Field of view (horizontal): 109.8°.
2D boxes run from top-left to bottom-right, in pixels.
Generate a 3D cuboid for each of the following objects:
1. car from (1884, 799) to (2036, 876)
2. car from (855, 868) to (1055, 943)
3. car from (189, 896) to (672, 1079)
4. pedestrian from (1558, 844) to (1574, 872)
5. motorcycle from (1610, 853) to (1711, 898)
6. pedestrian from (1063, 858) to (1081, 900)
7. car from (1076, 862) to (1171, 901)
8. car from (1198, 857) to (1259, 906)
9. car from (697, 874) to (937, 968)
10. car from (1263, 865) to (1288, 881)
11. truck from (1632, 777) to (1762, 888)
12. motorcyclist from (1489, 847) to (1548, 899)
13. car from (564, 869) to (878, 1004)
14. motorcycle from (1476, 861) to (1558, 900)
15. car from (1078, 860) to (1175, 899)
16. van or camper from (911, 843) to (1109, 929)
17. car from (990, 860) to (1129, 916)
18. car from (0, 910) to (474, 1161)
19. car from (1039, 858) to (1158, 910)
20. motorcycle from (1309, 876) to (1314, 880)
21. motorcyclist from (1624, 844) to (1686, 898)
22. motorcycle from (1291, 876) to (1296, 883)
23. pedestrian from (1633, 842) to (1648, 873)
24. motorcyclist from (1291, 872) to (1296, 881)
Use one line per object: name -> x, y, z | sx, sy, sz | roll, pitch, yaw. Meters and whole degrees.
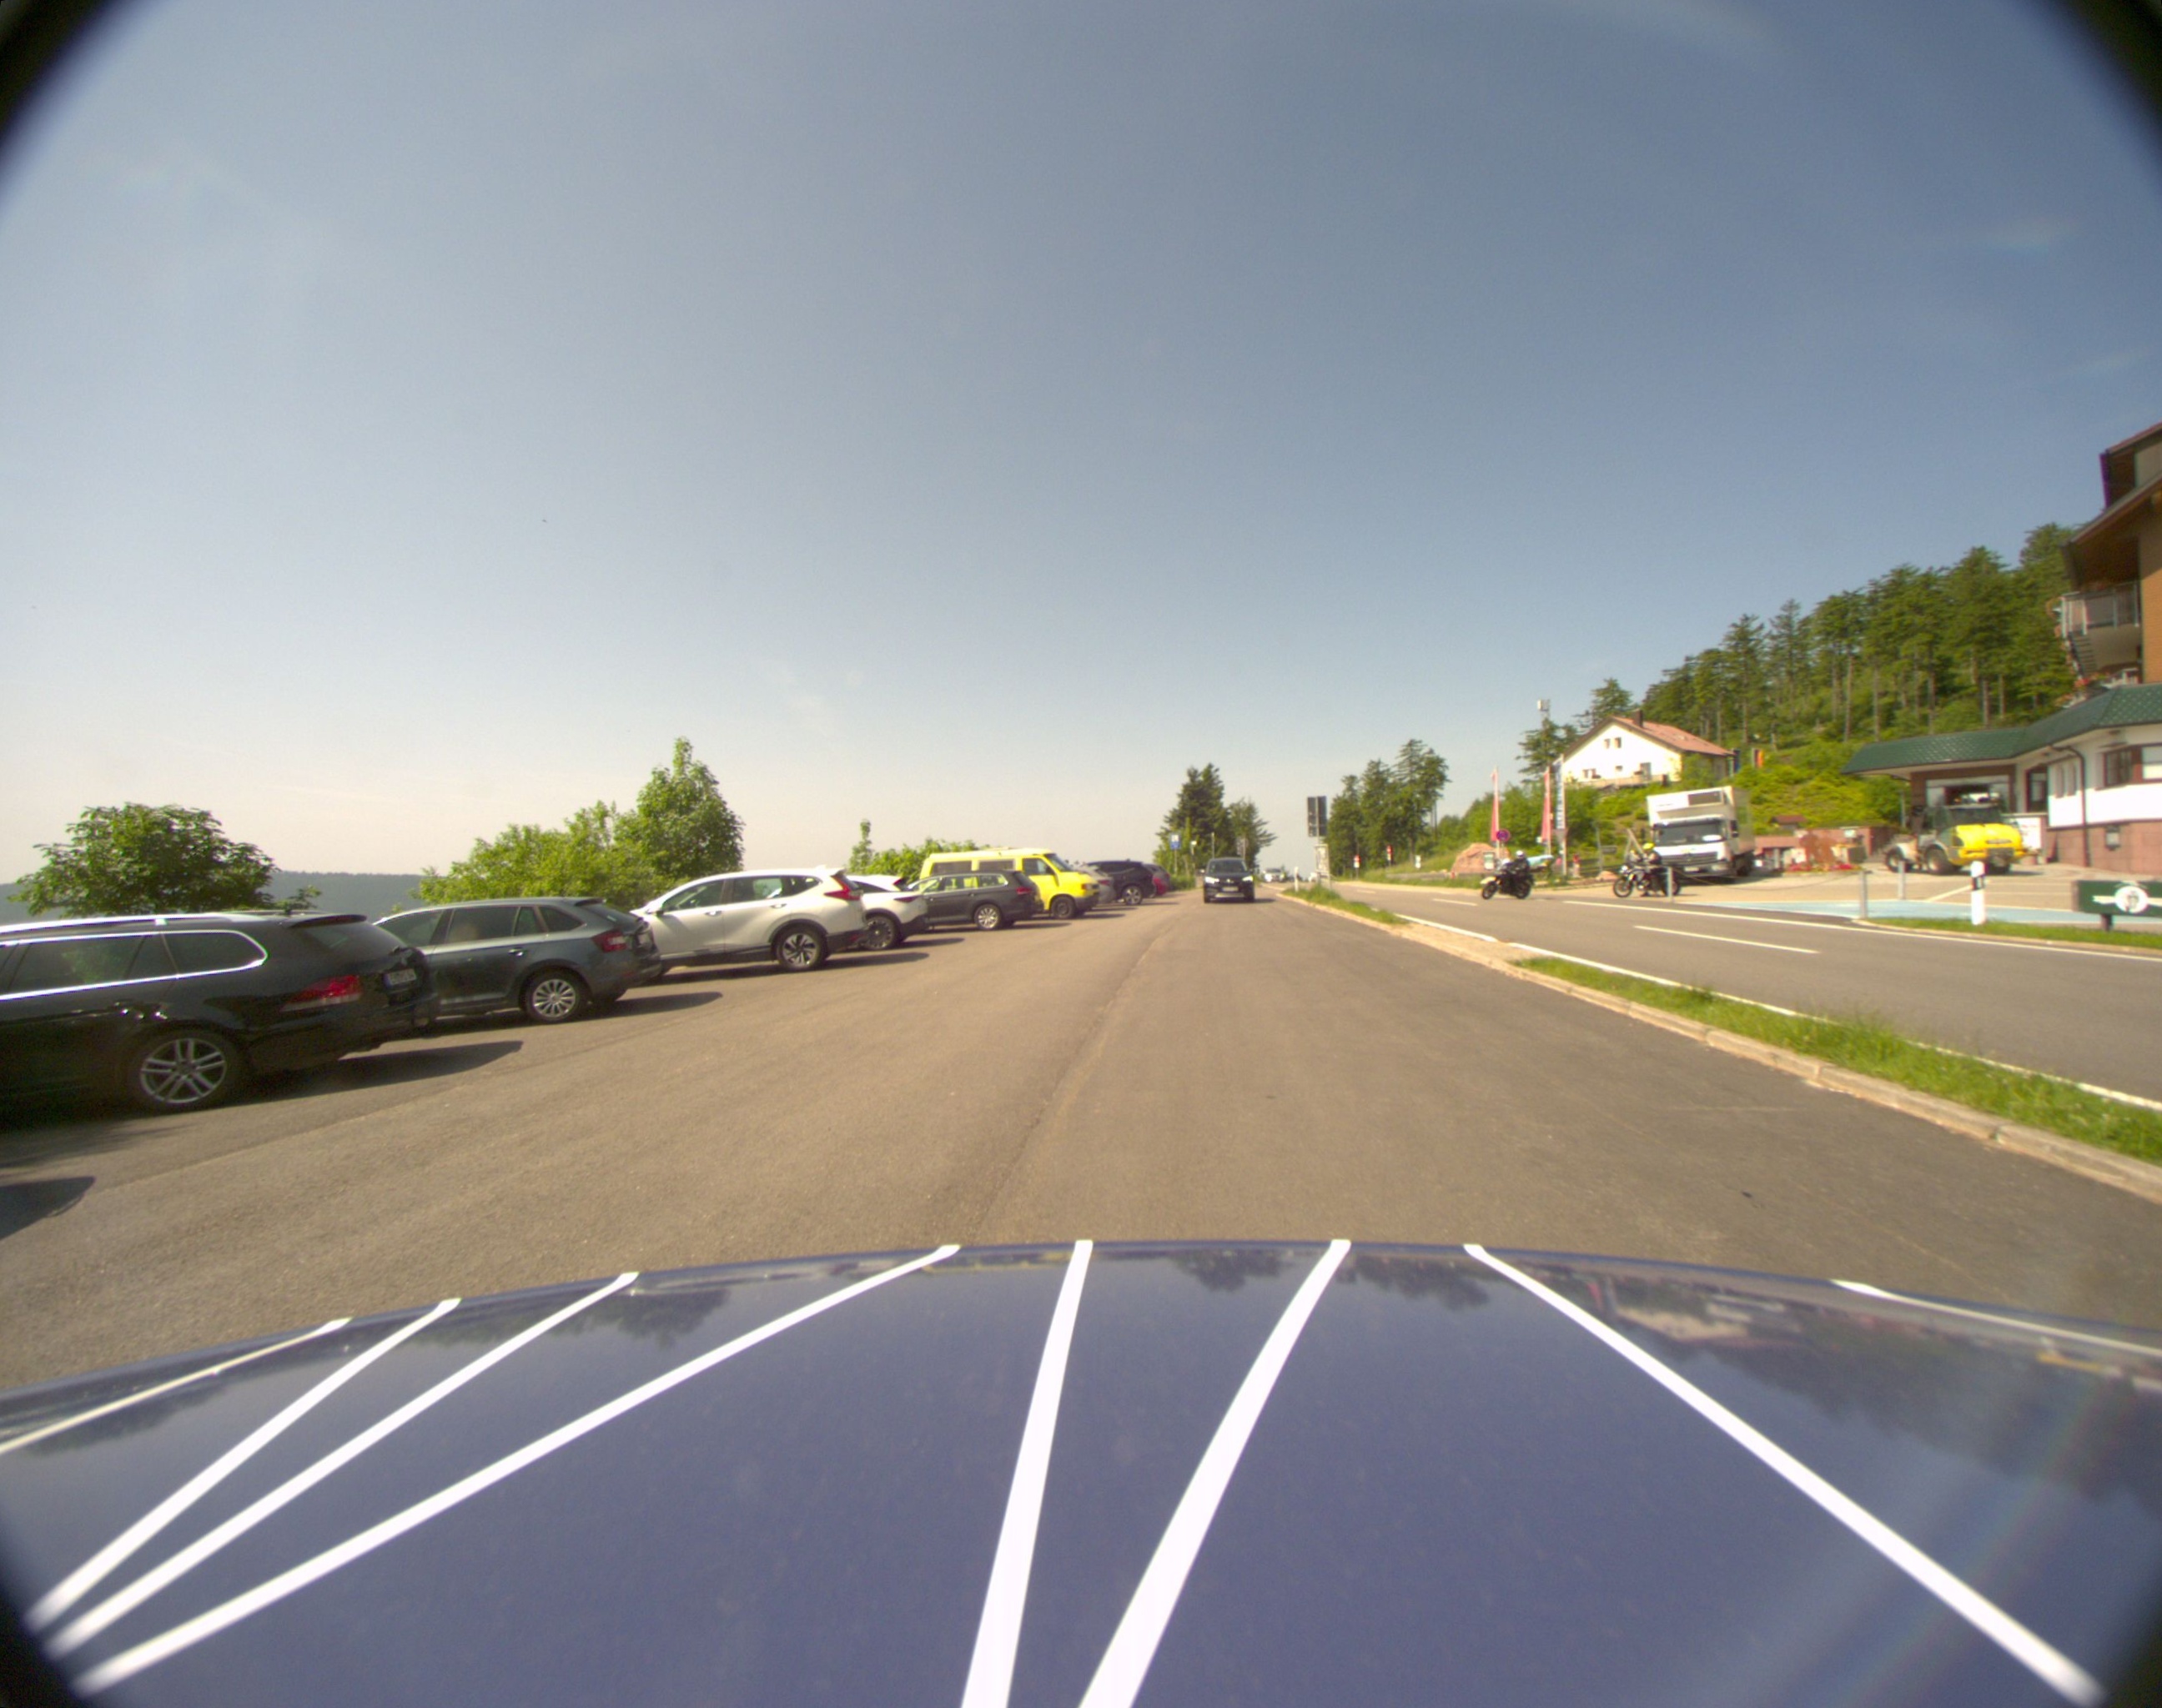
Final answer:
car -> 30.812, -0.506, 26.823 | 1.995, 2.481, 4.007 | -1, -1, 24
car -> -3.010, 1.231, 18.573 | 4.358, 1.478, 1.814 | -4, -1, 10
car -> -7.111, 1.391, 8.781 | 3.808, 1.450, 1.661 | -4, 0, -14
pedestrian -> 29.632, 0.227, 46.426 | 0.697, 1.706, 0.800 | -1, -1, 44
motorcycle -> 19.064, 0.688, 25.047 | 2.441, 1.398, 1.006 | -2, 1, 8
pedestrian -> -0.418, 1.143, 34.750 | 0.609, 1.888, 0.679 | -4, 0, 7
car -> 1.818, 1.212, 33.398 | 3.997, 1.500, 1.842 | -2, -1, -1
car -> 5.239, 0.936, 27.364 | 1.983, 1.607, 4.153 | -1, 0, 9
car -> -5.128, 1.276, 15.253 | 4.097, 1.491, 1.943 | -3, 0, -4
car -> 18.475, 1.788, 72.301 | 1.779, 1.448, 4.003 | 0, -1, 8
truck -> 25.955, -0.898, 31.792 | 8.788, 3.948, 3.062 | -3, -1, -45
motorcyclist -> 14.801, 0.634, 25.741 | 1.451, 1.708, 0.925 | 0, 1, -3
car -> -5.595, 1.226, 12.388 | 4.186, 1.640, 1.890 | -4, 0, -12
motorcycle -> 14.767, 0.887, 25.783 | 2.276, 1.249, 0.879 | 0, 1, -3
car -> 2.126, 1.217, 36.002 | 4.407, 1.559, 1.908 | -3, -1, 2
van or camper -> -1.945, 0.898, 21.426 | 5.098, 2.001, 1.884 | -4, -1, 13
car -> -0.671, 1.080, 24.650 | 4.158, 1.579, 1.706 | -3, -1, 11
car -> -7.782, 1.407, 6.109 | 4.054, 1.452, 1.892 | -4, 0, -20
car -> 0.649, 1.049, 26.942 | 3.996, 1.604, 1.917 | -3, -1, 3
motorcycle -> 60.018, 6.299, 197.830 | 0.840, 1.089, 2.187 | -4, -2, 24
motorcyclist -> 18.895, 0.548, 25.051 | 1.246, 1.710, 1.065 | -2, 1, 9
motorcycle -> 39.820, 4.742, 142.293 | 0.812, 1.258, 2.330 | 0, -1, 14
pedestrian -> 30.934, 0.184, 42.022 | 0.574, 1.679, 0.654 | -1, 0, 44
motorcyclist -> 39.793, 4.205, 142.136 | 0.880, 1.632, 1.301 | 0, 0, 14
